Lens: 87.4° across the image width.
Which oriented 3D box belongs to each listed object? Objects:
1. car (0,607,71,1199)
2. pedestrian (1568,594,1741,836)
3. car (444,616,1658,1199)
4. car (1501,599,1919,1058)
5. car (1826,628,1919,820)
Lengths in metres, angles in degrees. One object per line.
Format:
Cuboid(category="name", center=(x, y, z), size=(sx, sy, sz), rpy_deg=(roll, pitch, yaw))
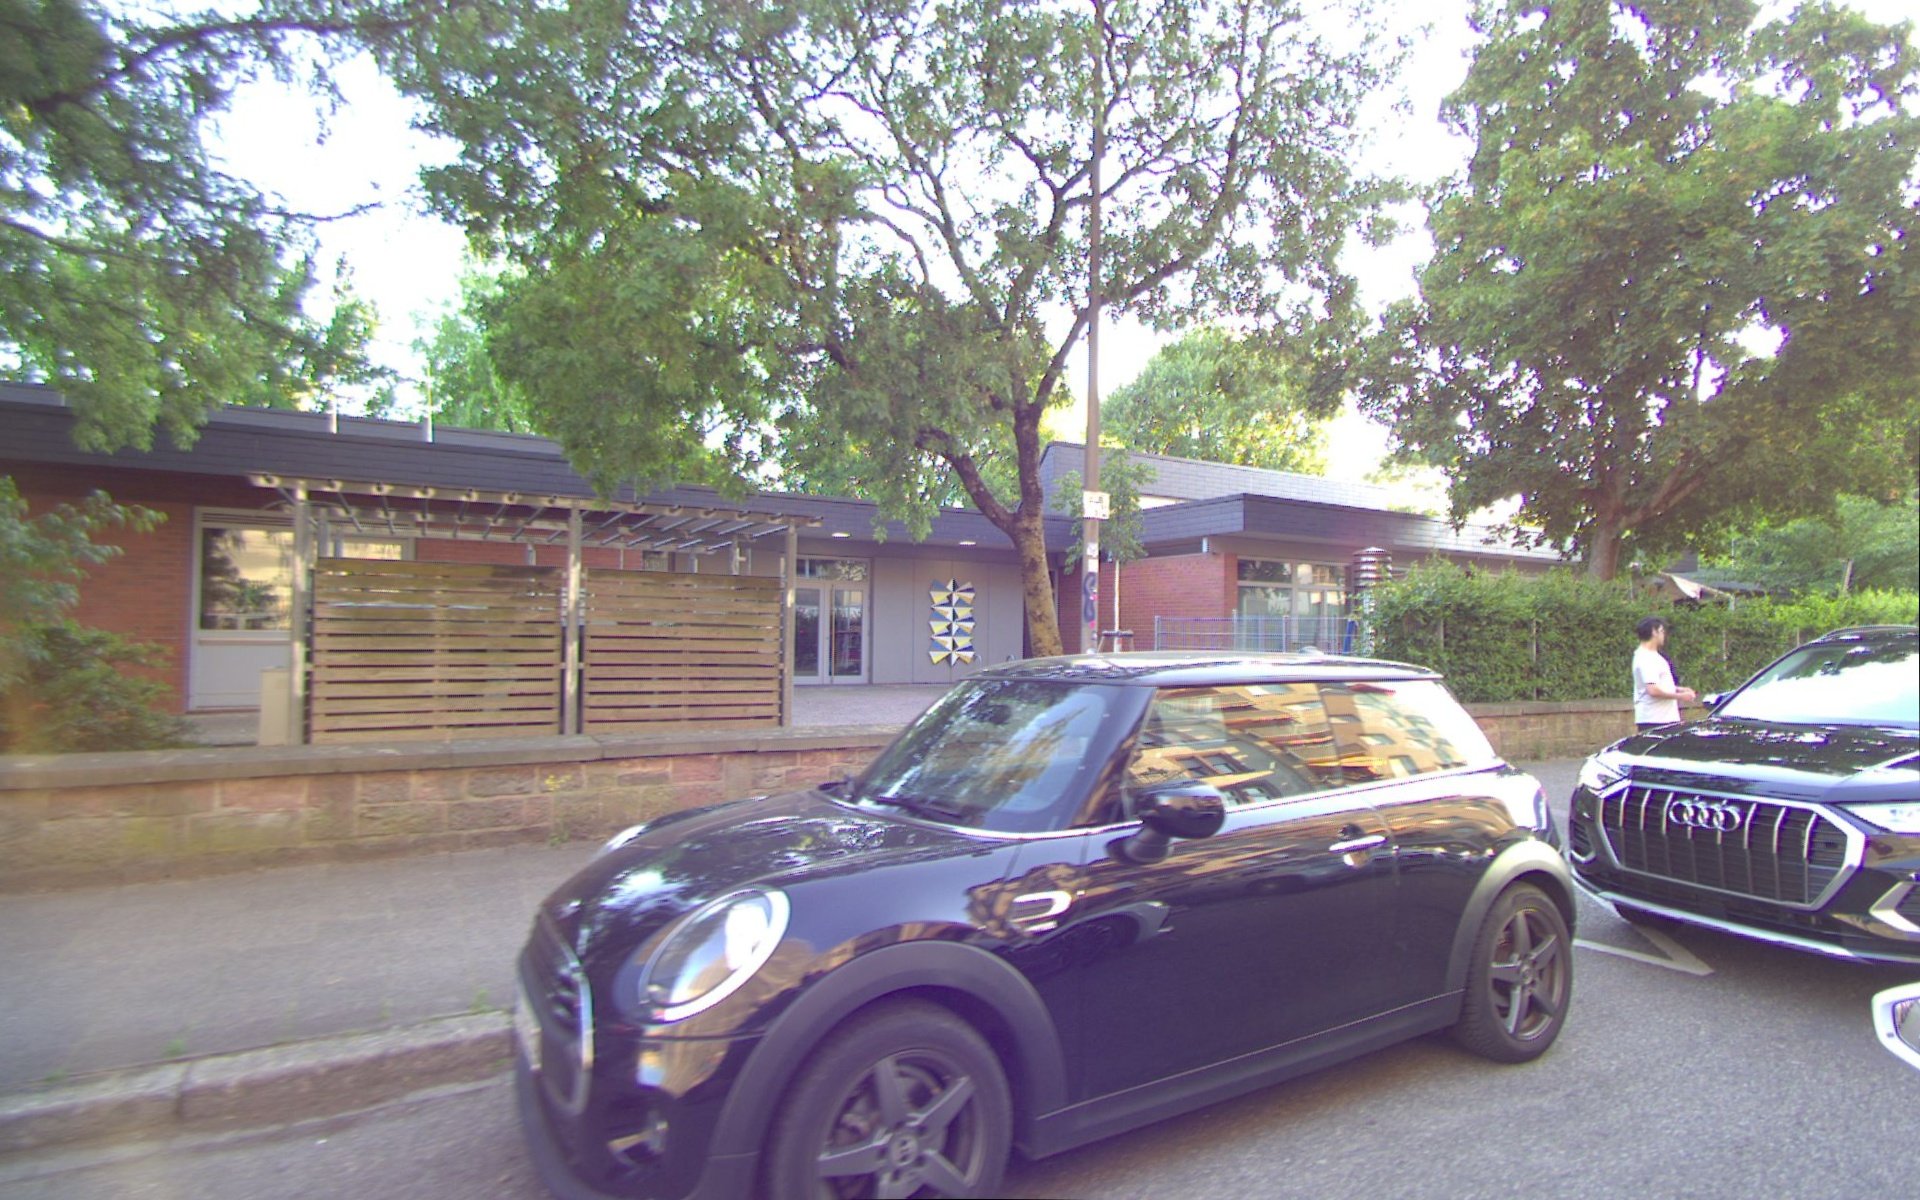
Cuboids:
Cuboid(category="car", center=(-3.957, 0.701, 0.987), size=(4.311, 1.515, 1.707), rpy_deg=(2, -4, -31))
Cuboid(category="pedestrian", center=(5.738, 0.896, 8.324), size=(0.778, 1.855, 0.933), rpy_deg=(2, -1, -31))
Cuboid(category="car", center=(0.463, 0.875, 3.480), size=(3.944, 1.497, 1.630), rpy_deg=(2, -4, -29))
Cuboid(category="car", center=(5.122, 0.881, 5.078), size=(4.500, 1.590, 1.801), rpy_deg=(2, -2, -23))
Cuboid(category="car", center=(10.140, 1.114, 9.378), size=(3.950, 1.652, 1.777), rpy_deg=(2, -4, -28))
